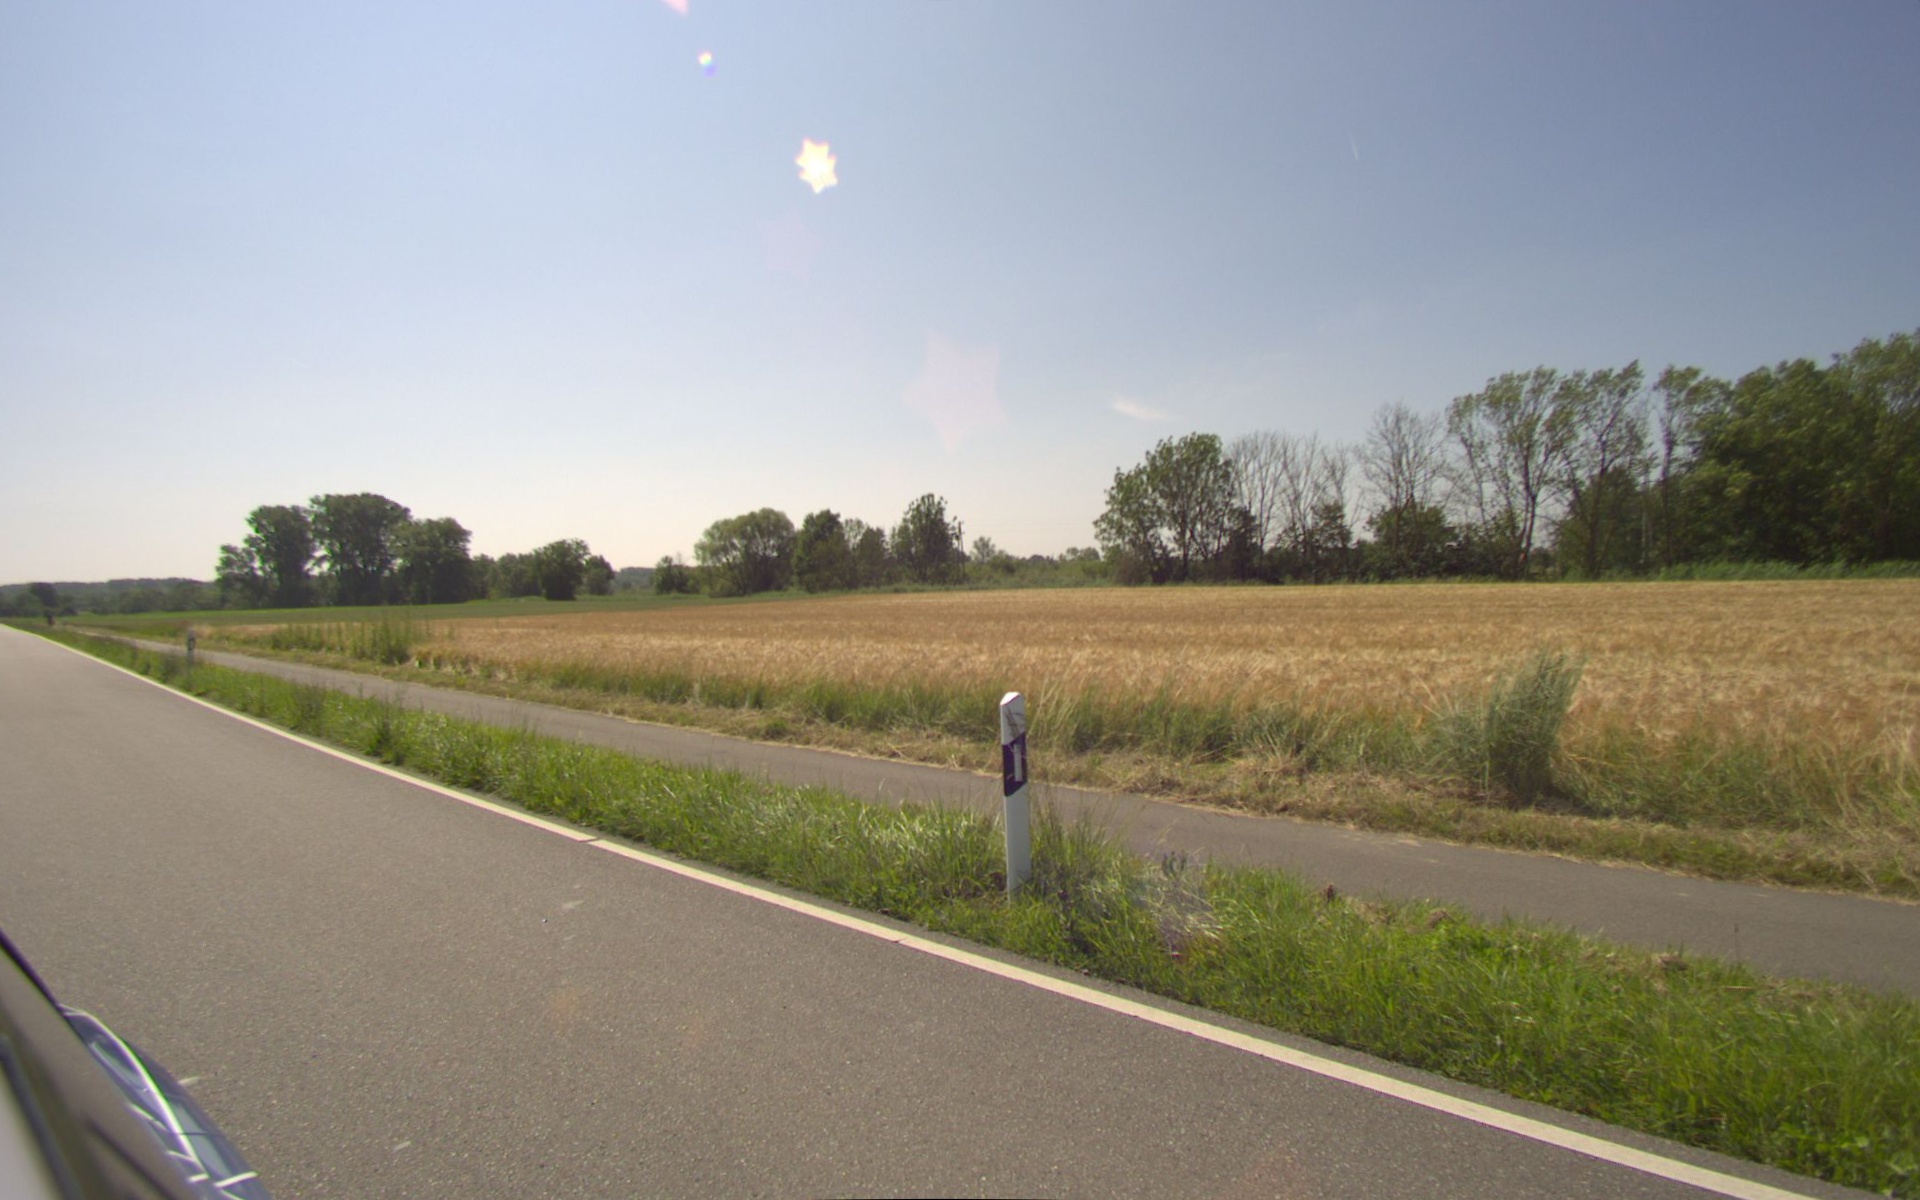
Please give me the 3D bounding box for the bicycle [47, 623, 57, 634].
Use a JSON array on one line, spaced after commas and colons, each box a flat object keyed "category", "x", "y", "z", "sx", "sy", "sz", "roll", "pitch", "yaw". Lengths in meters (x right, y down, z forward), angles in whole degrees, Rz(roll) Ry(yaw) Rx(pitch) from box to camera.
[{"category": "bicycle", "x": -100.336, "y": 3.183, "z": 111.798, "sx": 0.732, "sy": 1.180, "sz": 2.084, "roll": -3, "pitch": 1, "yaw": -44}]
